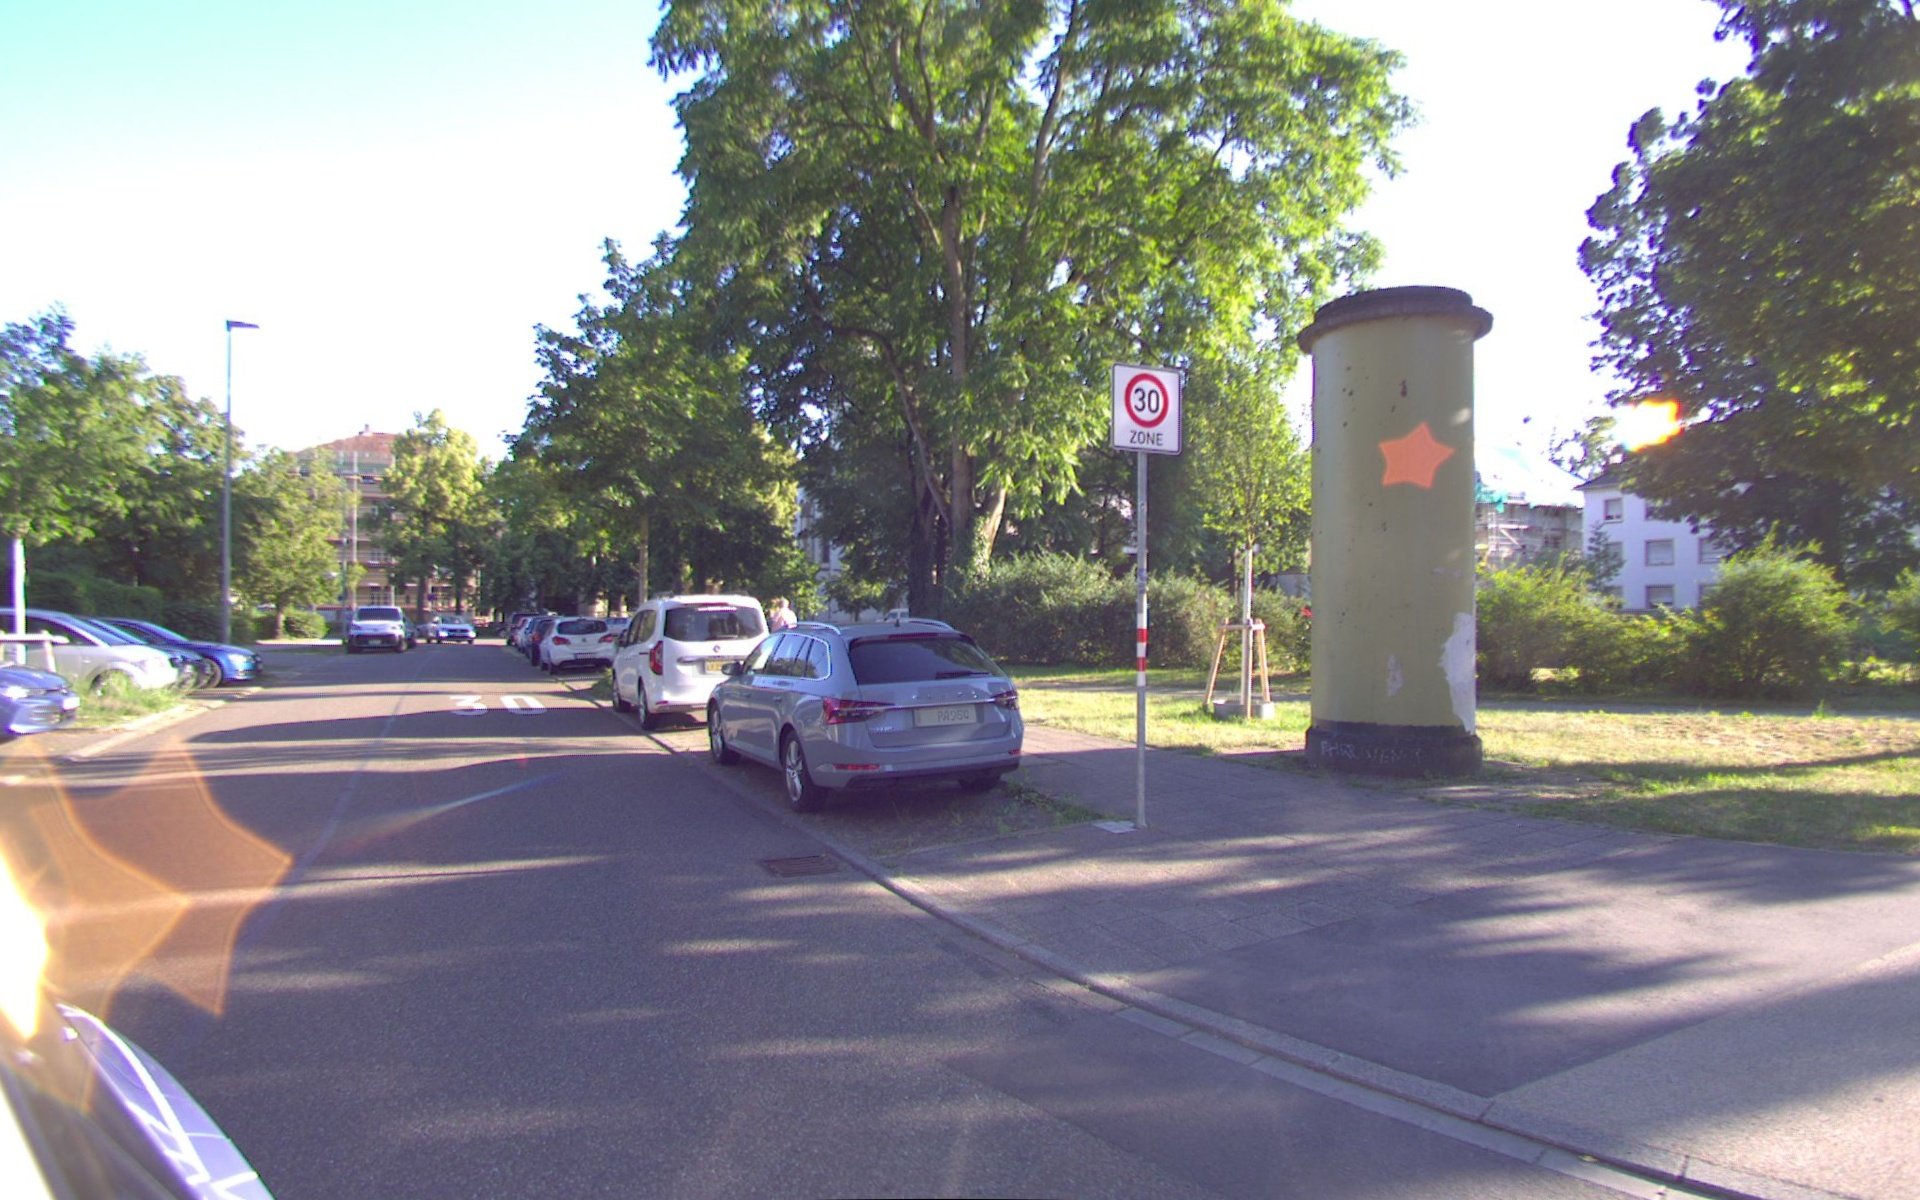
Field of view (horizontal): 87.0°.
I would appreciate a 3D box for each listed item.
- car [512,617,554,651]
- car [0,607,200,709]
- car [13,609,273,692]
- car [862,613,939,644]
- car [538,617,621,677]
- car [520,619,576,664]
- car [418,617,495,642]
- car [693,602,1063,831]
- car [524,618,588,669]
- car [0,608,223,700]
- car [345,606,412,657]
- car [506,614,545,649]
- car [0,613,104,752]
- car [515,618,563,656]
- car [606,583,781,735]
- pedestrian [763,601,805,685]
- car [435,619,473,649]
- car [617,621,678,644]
[{"bbox_3d":[-20.264,1.581,47.946,1.688,1.520,3.691,0,-1,-25],"label":"car"},{"bbox_3d":[-14.760,0.900,16.213,3.856,1.549,1.751,2,-2,-29],"label":"car"},{"bbox_3d":[-16.569,1.024,20.802,3.856,1.549,1.751,2,-2,-29],"label":"car"},{"bbox_3d":[-3.782,1.828,64.695,4.718,1.931,1.792,0,-1,9],"label":"car"},{"bbox_3d":[-10.445,1.230,27.658,1.688,1.520,3.320,0,-1,-28],"label":"car"},{"bbox_3d":[-15.092,1.469,36.991,1.688,1.520,3.691,0,-1,-25],"label":"car"},{"bbox_3d":[-36.000,2.110,72.424,4.463,1.697,2.278,0,-4,10],"label":"car"},{"bbox_3d":[-1.102,0.833,9.534,1.835,1.570,4.854,0,-1,-26],"label":"car"},{"bbox_3d":[-12.960,1.338,32.351,1.688,1.520,3.691,0,-1,-25],"label":"car"},{"bbox_3d":[-16.015,0.964,18.496,3.856,1.549,1.751,2,-2,-29],"label":"car"},{"bbox_3d":[-23.668,1.250,41.338,2.025,1.945,4.463,0,-1,-25],"label":"car"},{"bbox_3d":[-22.086,1.585,51.348,1.688,1.696,3.691,0,-1,-25],"label":"car"},{"bbox_3d":[-12.127,0.849,10.914,4.028,1.468,1.817,2,-2,-24],"label":"car"},{"bbox_3d":[-17.554,1.500,42.109,1.688,1.520,3.691,0,-1,-25],"label":"car"},{"bbox_3d":[-4.143,0.779,15.216,1.732,1.931,4.252,-1,-1,-26],"label":"car"},{"bbox_3d":[-3.742,0.895,21.519,0.704,1.750,0.750,1,-1,-26],"label":"pedestrian"},{"bbox_3d":[-27.425,1.802,54.930,1.752,1.547,4.360,0,-1,-25],"label":"car"},{"bbox_3d":[-20.804,2.180,67.479,3.533,1.509,1.685,0,-1,8],"label":"car"}]
